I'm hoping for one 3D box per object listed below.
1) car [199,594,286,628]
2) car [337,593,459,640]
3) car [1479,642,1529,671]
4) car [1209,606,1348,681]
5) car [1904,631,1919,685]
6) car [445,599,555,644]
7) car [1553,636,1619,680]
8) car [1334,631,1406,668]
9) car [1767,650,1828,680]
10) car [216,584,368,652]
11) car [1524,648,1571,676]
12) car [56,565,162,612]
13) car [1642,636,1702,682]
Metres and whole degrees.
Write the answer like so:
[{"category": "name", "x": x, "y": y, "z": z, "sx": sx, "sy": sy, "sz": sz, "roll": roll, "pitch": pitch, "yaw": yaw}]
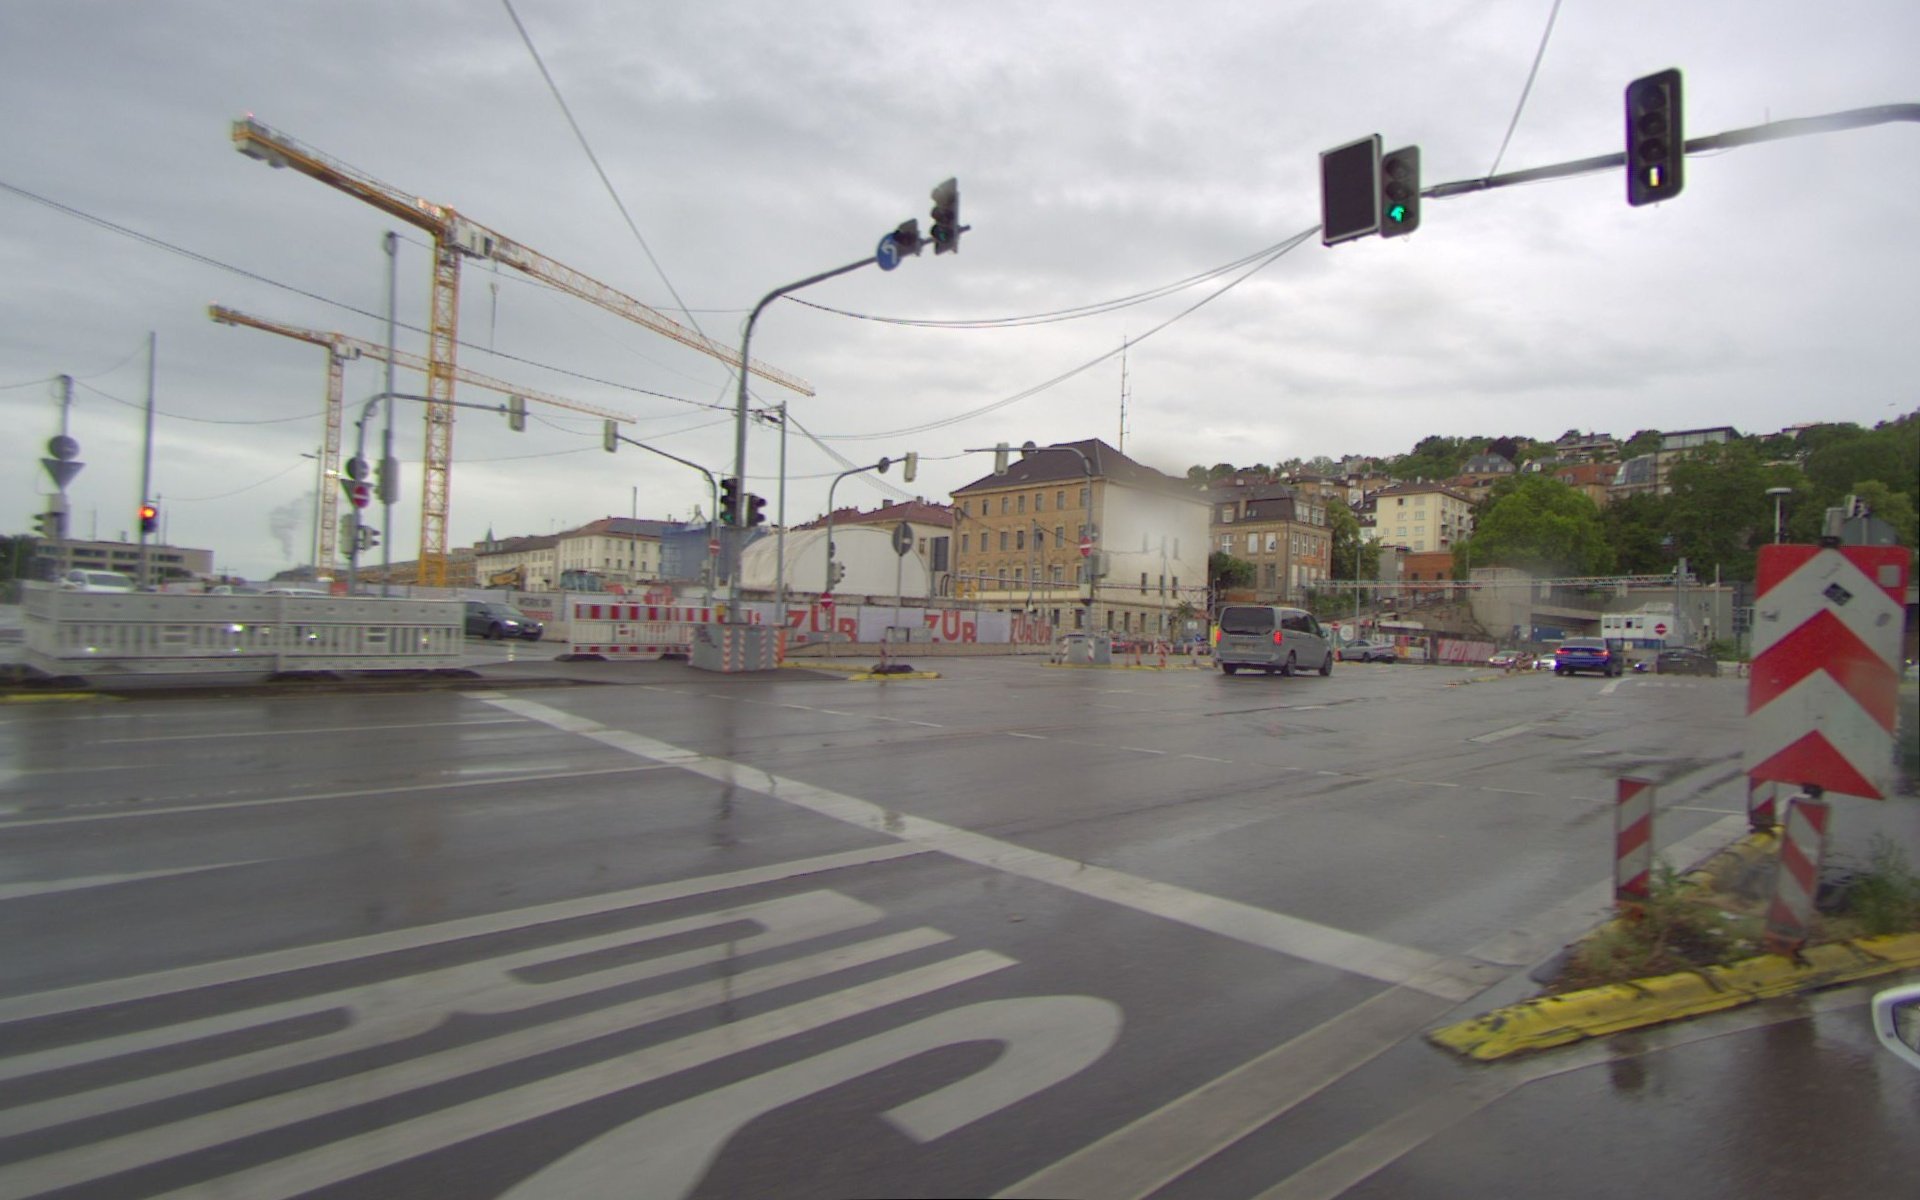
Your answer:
[{"category": "car", "x": -34.202, "y": 0.520, "z": 47.835, "sx": 4.449, "sy": 1.578, "sz": 1.994, "roll": 0, "pitch": -1, "yaw": 35}, {"category": "car", "x": -22.499, "y": 0.645, "z": 40.205, "sx": 4.338, "sy": 1.740, "sz": 1.999, "roll": 1, "pitch": -1, "yaw": 23}, {"category": "car", "x": 41.333, "y": 4.265, "z": 76.291, "sx": 3.966, "sy": 2.040, "sz": 1.978, "roll": 2, "pitch": 0, "yaw": -39}, {"category": "car", "x": 9.006, "y": 1.197, "z": 28.122, "sx": 1.971, "sy": 1.863, "sz": 4.659, "roll": 2, "pitch": -1, "yaw": 41}, {"category": "car", "x": 38.799, "y": 2.276, "z": 37.885, "sx": 4.577, "sy": 2.040, "sz": 1.988, "roll": 2, "pitch": 0, "yaw": 44}, {"category": "car", "x": -17.334, "y": 0.785, "z": 37.830, "sx": 3.732, "sy": 1.586, "sz": 1.859, "roll": 1, "pitch": -1, "yaw": 28}, {"category": "car", "x": 23.305, "y": 2.112, "z": 37.384, "sx": 1.966, "sy": 1.457, "sz": 3.990, "roll": 2, "pitch": -1, "yaw": 33}, {"category": "car", "x": 25.554, "y": 3.055, "z": 62.789, "sx": 1.966, "sy": 2.040, "sz": 4.281, "roll": 1, "pitch": 0, "yaw": -14}, {"category": "car", "x": 51.120, "y": 3.930, "z": 61.309, "sx": 3.964, "sy": 1.656, "sz": 1.978, "roll": 2, "pitch": 1, "yaw": -38}, {"category": "car", "x": -21.462, "y": 0.547, "z": 32.288, "sx": 4.338, "sy": 2.040, "sz": 1.999, "roll": 1, "pitch": -1, "yaw": 23}, {"category": "car", "x": 47.573, "y": 4.988, "z": 81.311, "sx": 3.966, "sy": 2.040, "sz": 1.978, "roll": 2, "pitch": 0, "yaw": -39}, {"category": "car", "x": -34.872, "y": -0.461, "z": 41.154, "sx": 4.280, "sy": 1.795, "sz": 1.996, "roll": 1, "pitch": -1, "yaw": 30}, {"category": "car", "x": 34.850, "y": 2.832, "z": 49.120, "sx": 1.971, "sy": 2.040, "sz": 3.980, "roll": 1, "pitch": -1, "yaw": 41}]
